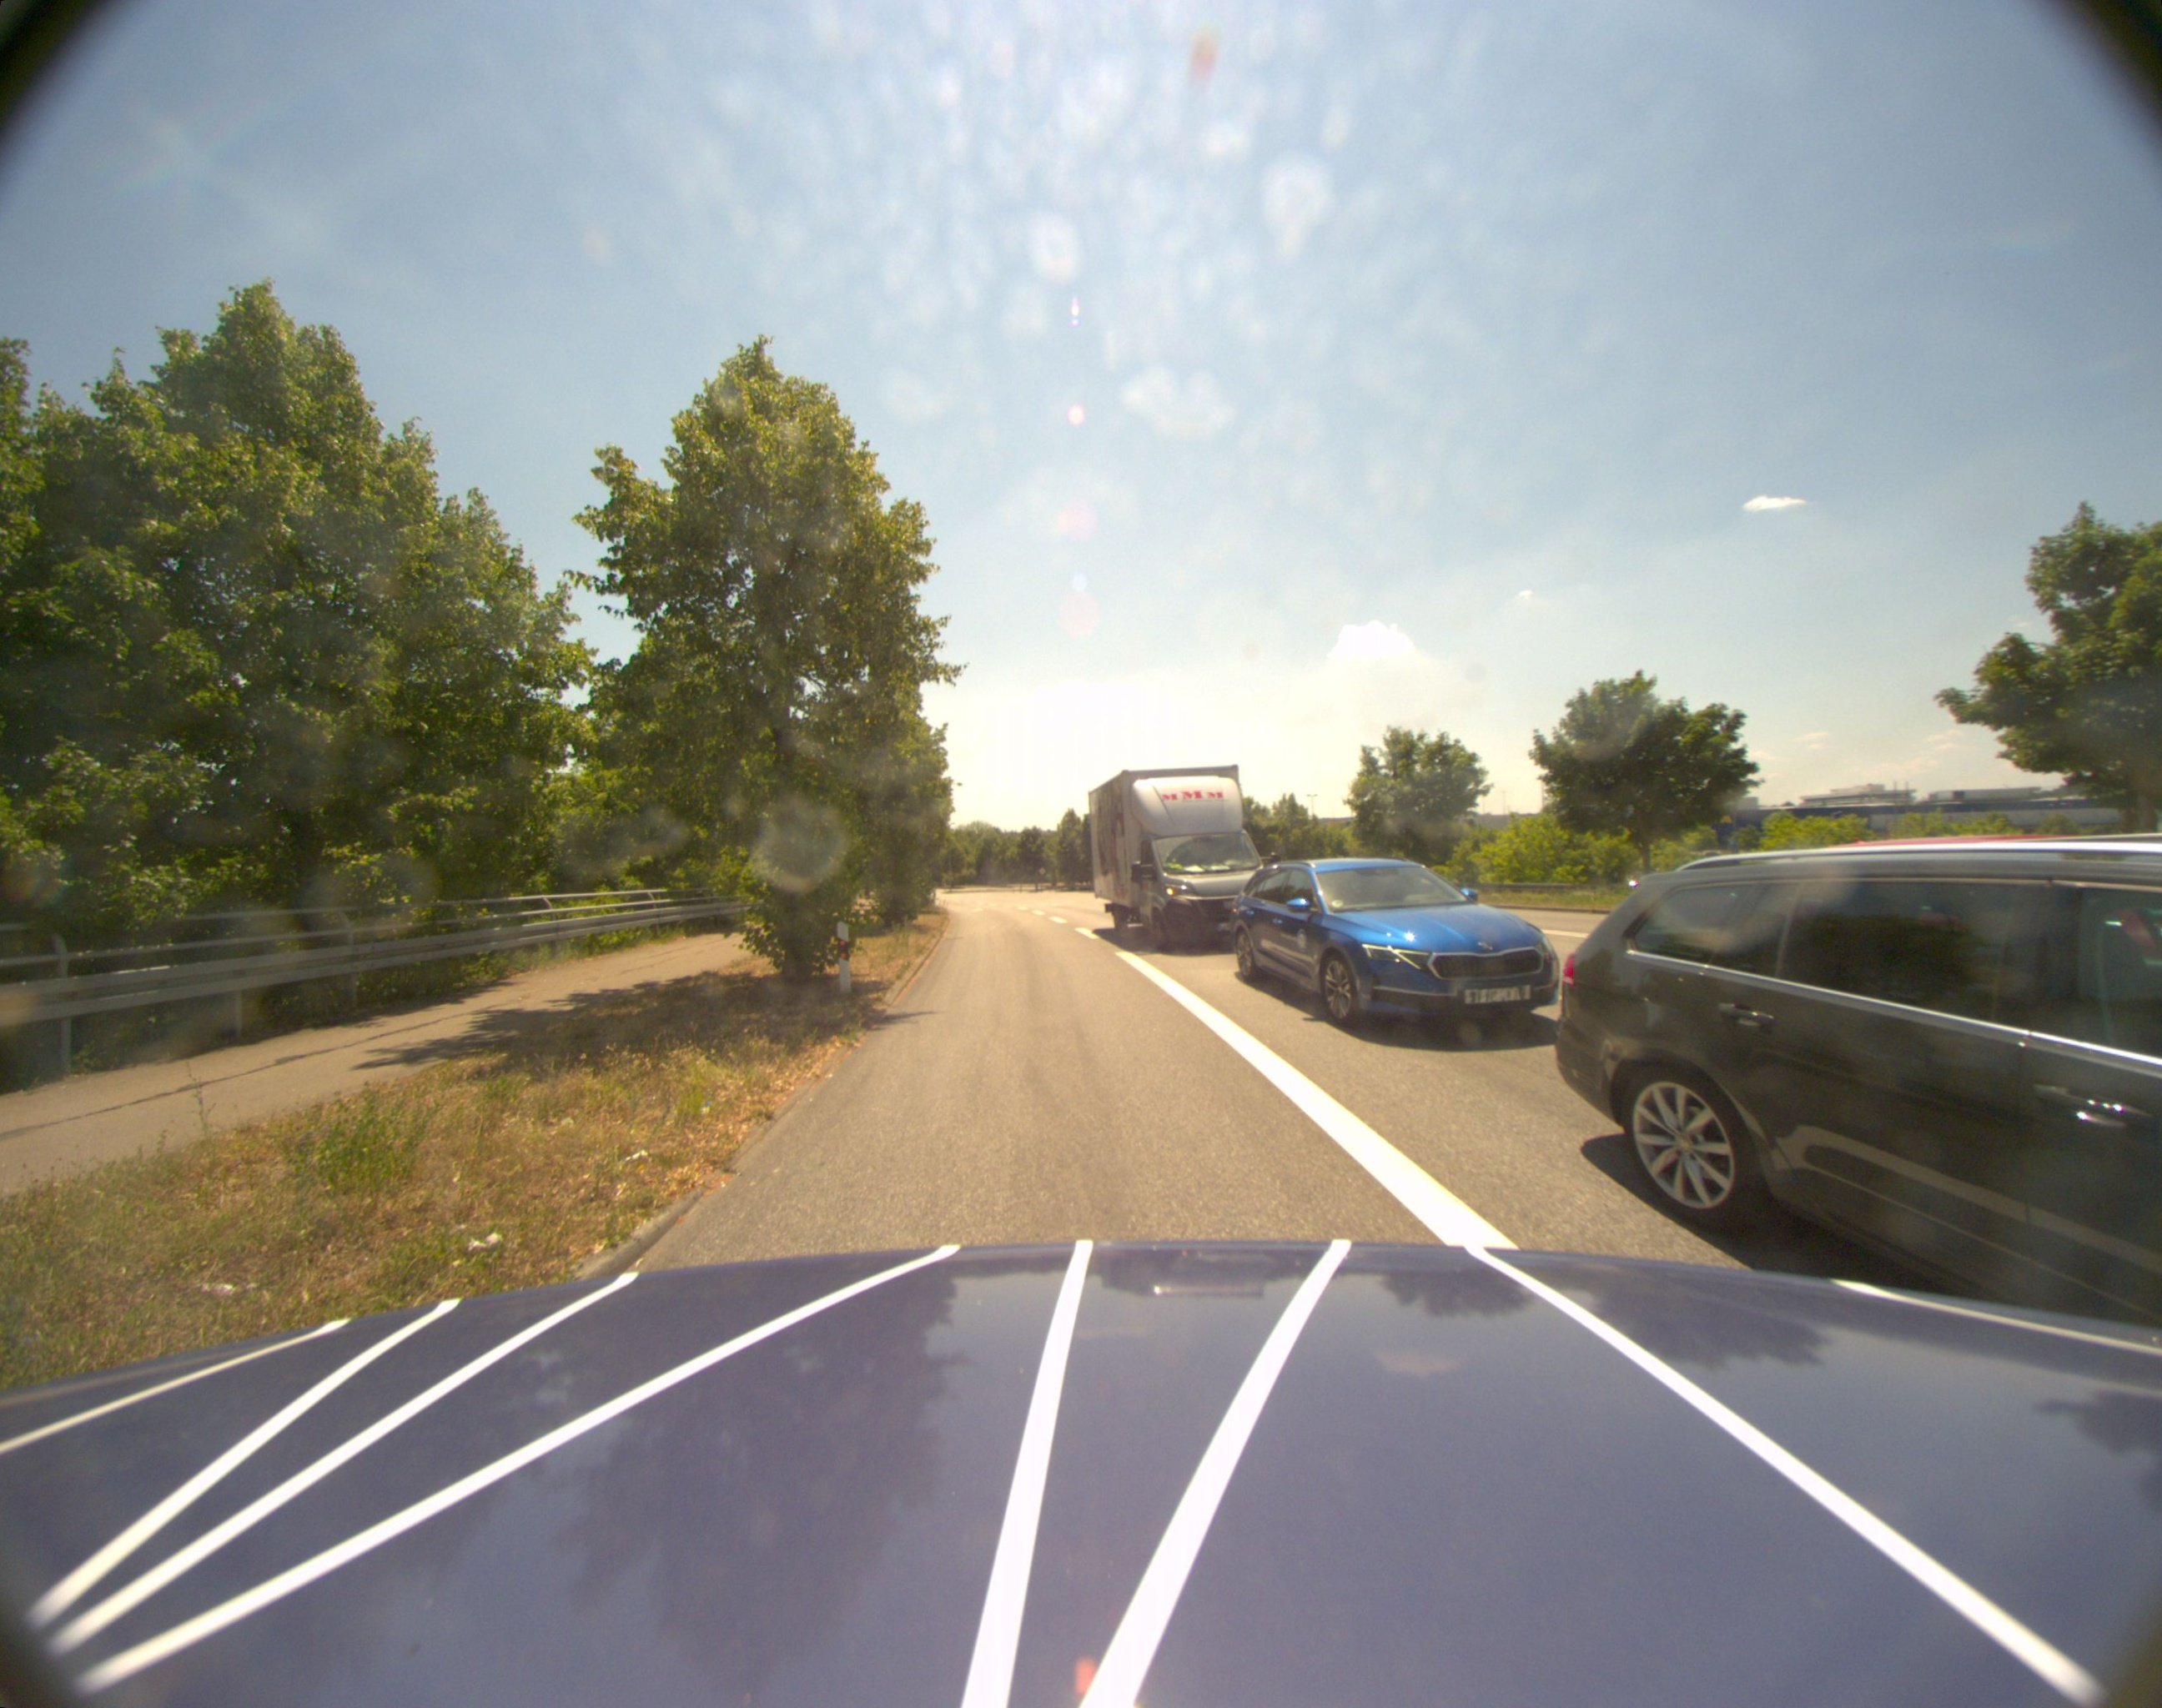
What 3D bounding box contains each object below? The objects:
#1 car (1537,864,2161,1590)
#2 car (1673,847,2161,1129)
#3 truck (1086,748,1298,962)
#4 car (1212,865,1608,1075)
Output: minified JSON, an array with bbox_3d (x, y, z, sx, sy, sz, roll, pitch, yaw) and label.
[{"bbox_3d":[3.206,0.824,1.532,1.783,1.474,4.428,-2,0,-2],"label":"car"},{"bbox_3d":[6.373,0.689,4.778,1.665,1.380,4.448,-3,1,-2],"label":"car"},{"bbox_3d":[1.819,0.080,15.738,2.415,3.327,7.200,-2,-1,-7],"label":"truck"},{"bbox_3d":[2.856,0.885,7.884,1.713,1.454,4.487,-3,-1,-6],"label":"car"}]
